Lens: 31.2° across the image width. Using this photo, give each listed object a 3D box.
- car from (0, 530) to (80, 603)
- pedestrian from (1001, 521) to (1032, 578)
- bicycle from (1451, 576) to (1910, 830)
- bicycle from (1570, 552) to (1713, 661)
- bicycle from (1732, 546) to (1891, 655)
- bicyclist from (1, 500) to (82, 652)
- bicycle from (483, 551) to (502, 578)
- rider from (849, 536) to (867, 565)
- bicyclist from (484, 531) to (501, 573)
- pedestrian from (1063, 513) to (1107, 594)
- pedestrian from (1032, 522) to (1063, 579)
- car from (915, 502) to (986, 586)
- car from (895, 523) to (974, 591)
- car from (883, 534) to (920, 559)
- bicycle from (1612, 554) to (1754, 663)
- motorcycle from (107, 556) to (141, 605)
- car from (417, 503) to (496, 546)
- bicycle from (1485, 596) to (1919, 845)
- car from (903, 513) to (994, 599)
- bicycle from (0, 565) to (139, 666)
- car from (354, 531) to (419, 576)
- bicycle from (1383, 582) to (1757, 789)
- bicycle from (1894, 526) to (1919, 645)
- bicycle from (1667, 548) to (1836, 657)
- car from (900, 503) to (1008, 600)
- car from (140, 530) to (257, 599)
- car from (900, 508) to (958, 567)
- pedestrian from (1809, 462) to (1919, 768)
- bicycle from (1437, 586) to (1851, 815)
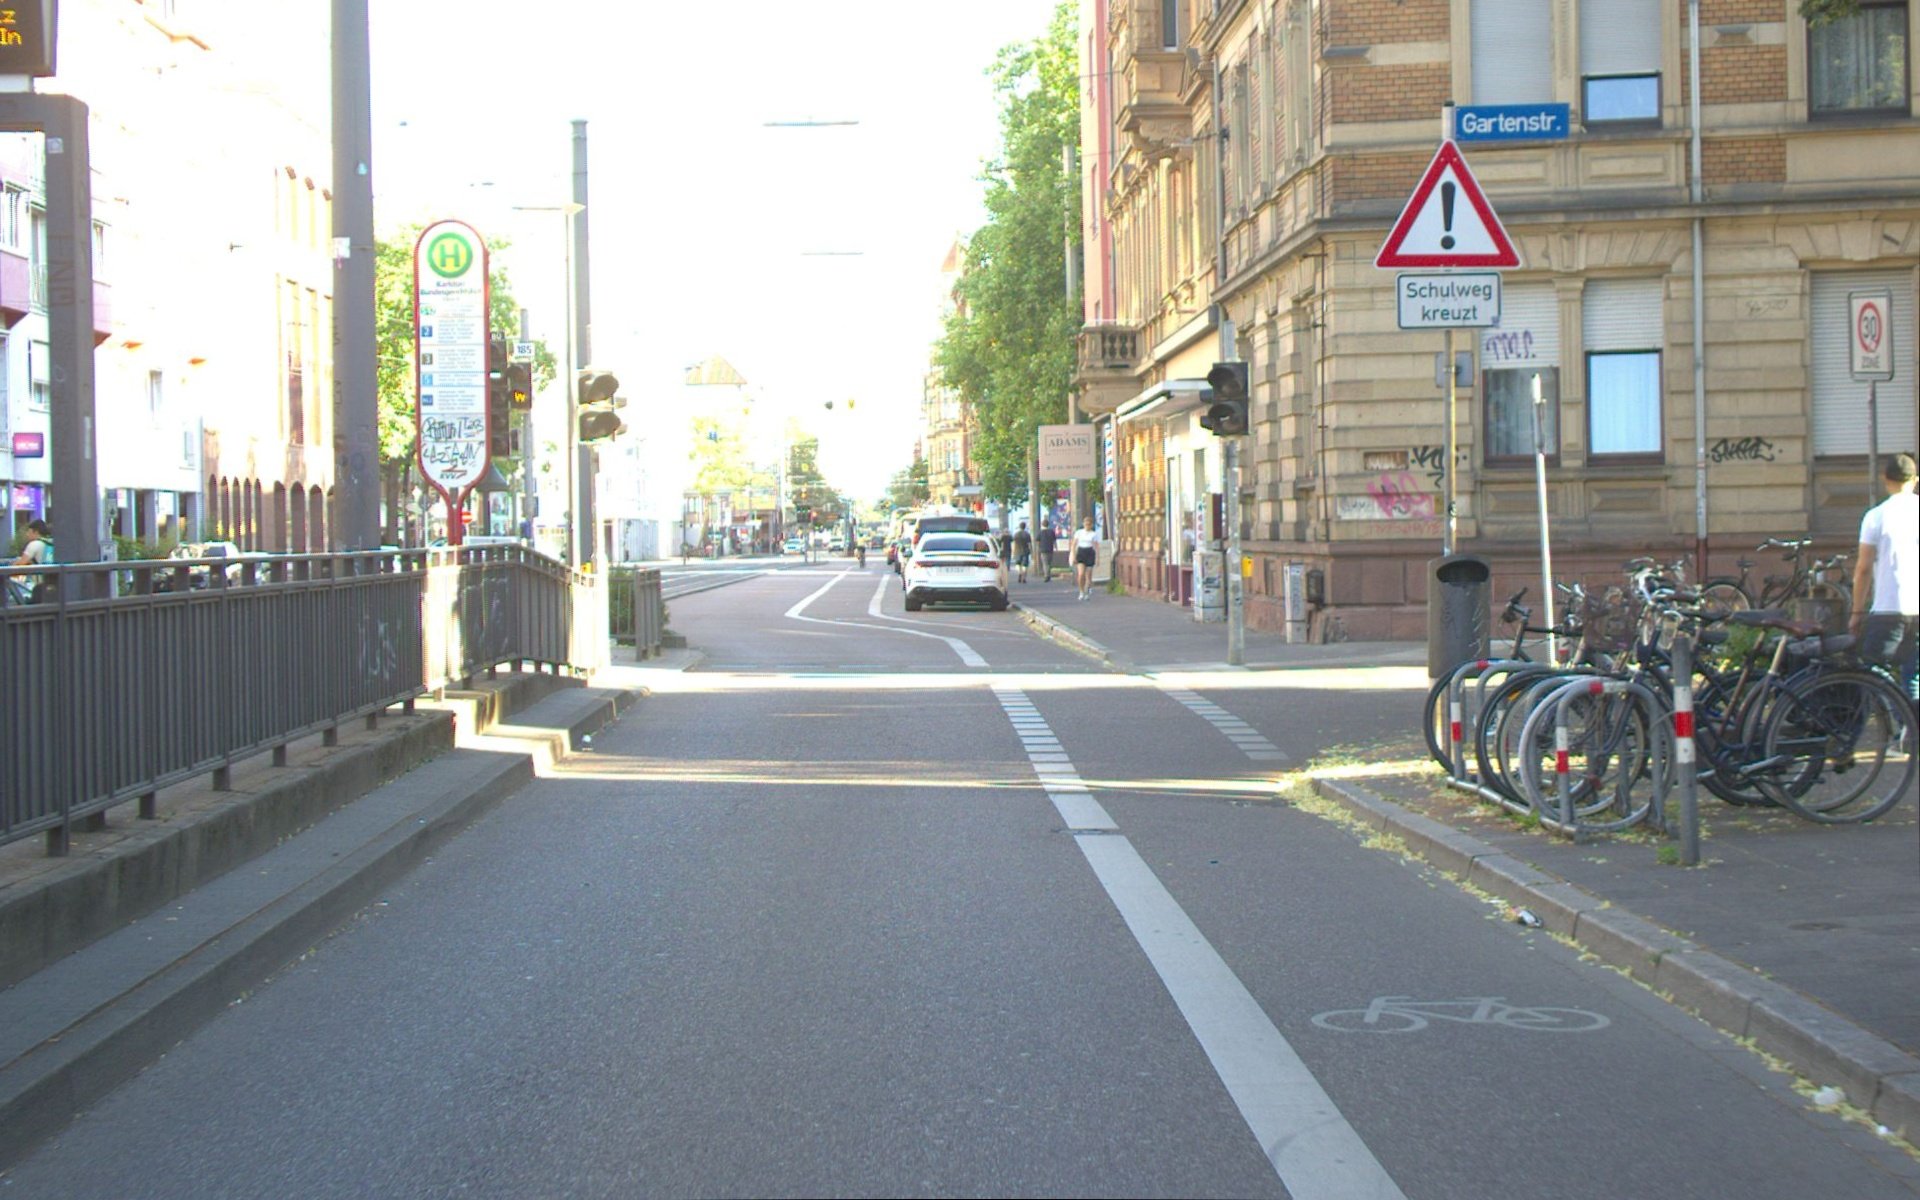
[{"bbox_3d":[-19.278,-0.703,69.869,1.869,1.434,4.708,0,1,-4],"label":"car"},{"bbox_3d":[1.612,-1.444,98.347,0.776,1.561,0.914,-4,1,0],"label":"pedestrian"},{"bbox_3d":[3.312,0.464,15.875,1.970,1.101,0.614,-1,1,-4],"label":"bicycle"},{"bbox_3d":[6.646,0.052,33.619,0.451,1.021,1.908,-1,1,-20],"label":"bicycle"},{"bbox_3d":[8.336,-0.011,33.722,0.495,1.021,1.908,-1,1,-22],"label":"bicycle"},{"bbox_3d":[-10.376,-0.276,38.849,0.743,1.706,0.534,-1,1,0],"label":"bicyclist"},{"bbox_3d":[-19.234,-1.457,141.464,0.582,1.074,2.186,-3,1,-12],"label":"bicycle"},{"bbox_3d":[-5.243,-2.535,176.125,0.883,1.476,0.713,1,1,0],"label":"rider"},{"bbox_3d":[-19.217,-1.974,141.249,0.571,1.706,0.746,-3,1,-12],"label":"bicyclist"},{"bbox_3d":[2.480,-0.927,68.186,0.776,1.561,0.914,-4,1,2],"label":"pedestrian"},{"bbox_3d":[2.493,-1.413,98.201,0.776,1.561,0.914,-4,1,0],"label":"pedestrian"},{"bbox_3d":[-0.228,-1.434,88.374,1.705,2.112,3.706,0,0,2],"label":"car"},{"bbox_3d":[-0.719,-1.172,93.473,1.949,1.782,5.182,1,1,-2],"label":"car"},{"bbox_3d":[-3.453,-3.121,201.715,2.065,1.384,4.225,2,1,-1],"label":"car"},{"bbox_3d":[7.056,0.067,33.623,0.417,1.021,1.908,-1,1,-20],"label":"bicycle"},{"bbox_3d":[-21.229,-0.491,87.274,0.669,1.201,2.141,1,0,-18],"label":"motorcycle"},{"bbox_3d":[-26.408,-3.977,180.338,3.869,1.623,1.874,-3,-13,-1],"label":"car"},{"bbox_3d":[3.346,0.518,15.219,1.913,1.044,0.681,0,1,-4],"label":"bicycle"},{"bbox_3d":[-0.252,-1.004,77.649,1.955,1.862,4.989,1,1,0],"label":"car"},{"bbox_3d":[-10.317,0.168,38.862,1.893,1.074,0.584,2,1,1],"label":"bicycle"},{"bbox_3d":[-20.523,-1.670,123.134,1.869,1.594,4.255,0,1,-4],"label":"car"},{"bbox_3d":[3.228,0.441,18.279,1.833,1.050,0.710,0,1,-4],"label":"bicycle"},{"bbox_3d":[10.138,-0.136,33.753,0.613,1.178,2.107,-1,1,-27],"label":"bicycle"},{"bbox_3d":[7.767,0.011,33.809,0.462,1.036,1.908,-1,1,-29],"label":"bicycle"},{"bbox_3d":[-0.119,-0.923,65.642,1.966,1.765,4.875,1,1,0],"label":"car"},{"bbox_3d":[-19.698,-0.892,89.144,2.090,1.707,4.819,1,0,-2],"label":"car"},{"bbox_3d":[-1.099,-2.243,123.393,1.971,2.007,4.558,-2,1,0],"label":"car"},{"bbox_3d":[5.286,0.062,19.280,0.783,1.660,1.033,-1,3,0],"label":"pedestrian"},{"bbox_3d":[3.286,0.471,16.605,1.833,1.050,0.718,0,1,-4],"label":"bicycle"}]
